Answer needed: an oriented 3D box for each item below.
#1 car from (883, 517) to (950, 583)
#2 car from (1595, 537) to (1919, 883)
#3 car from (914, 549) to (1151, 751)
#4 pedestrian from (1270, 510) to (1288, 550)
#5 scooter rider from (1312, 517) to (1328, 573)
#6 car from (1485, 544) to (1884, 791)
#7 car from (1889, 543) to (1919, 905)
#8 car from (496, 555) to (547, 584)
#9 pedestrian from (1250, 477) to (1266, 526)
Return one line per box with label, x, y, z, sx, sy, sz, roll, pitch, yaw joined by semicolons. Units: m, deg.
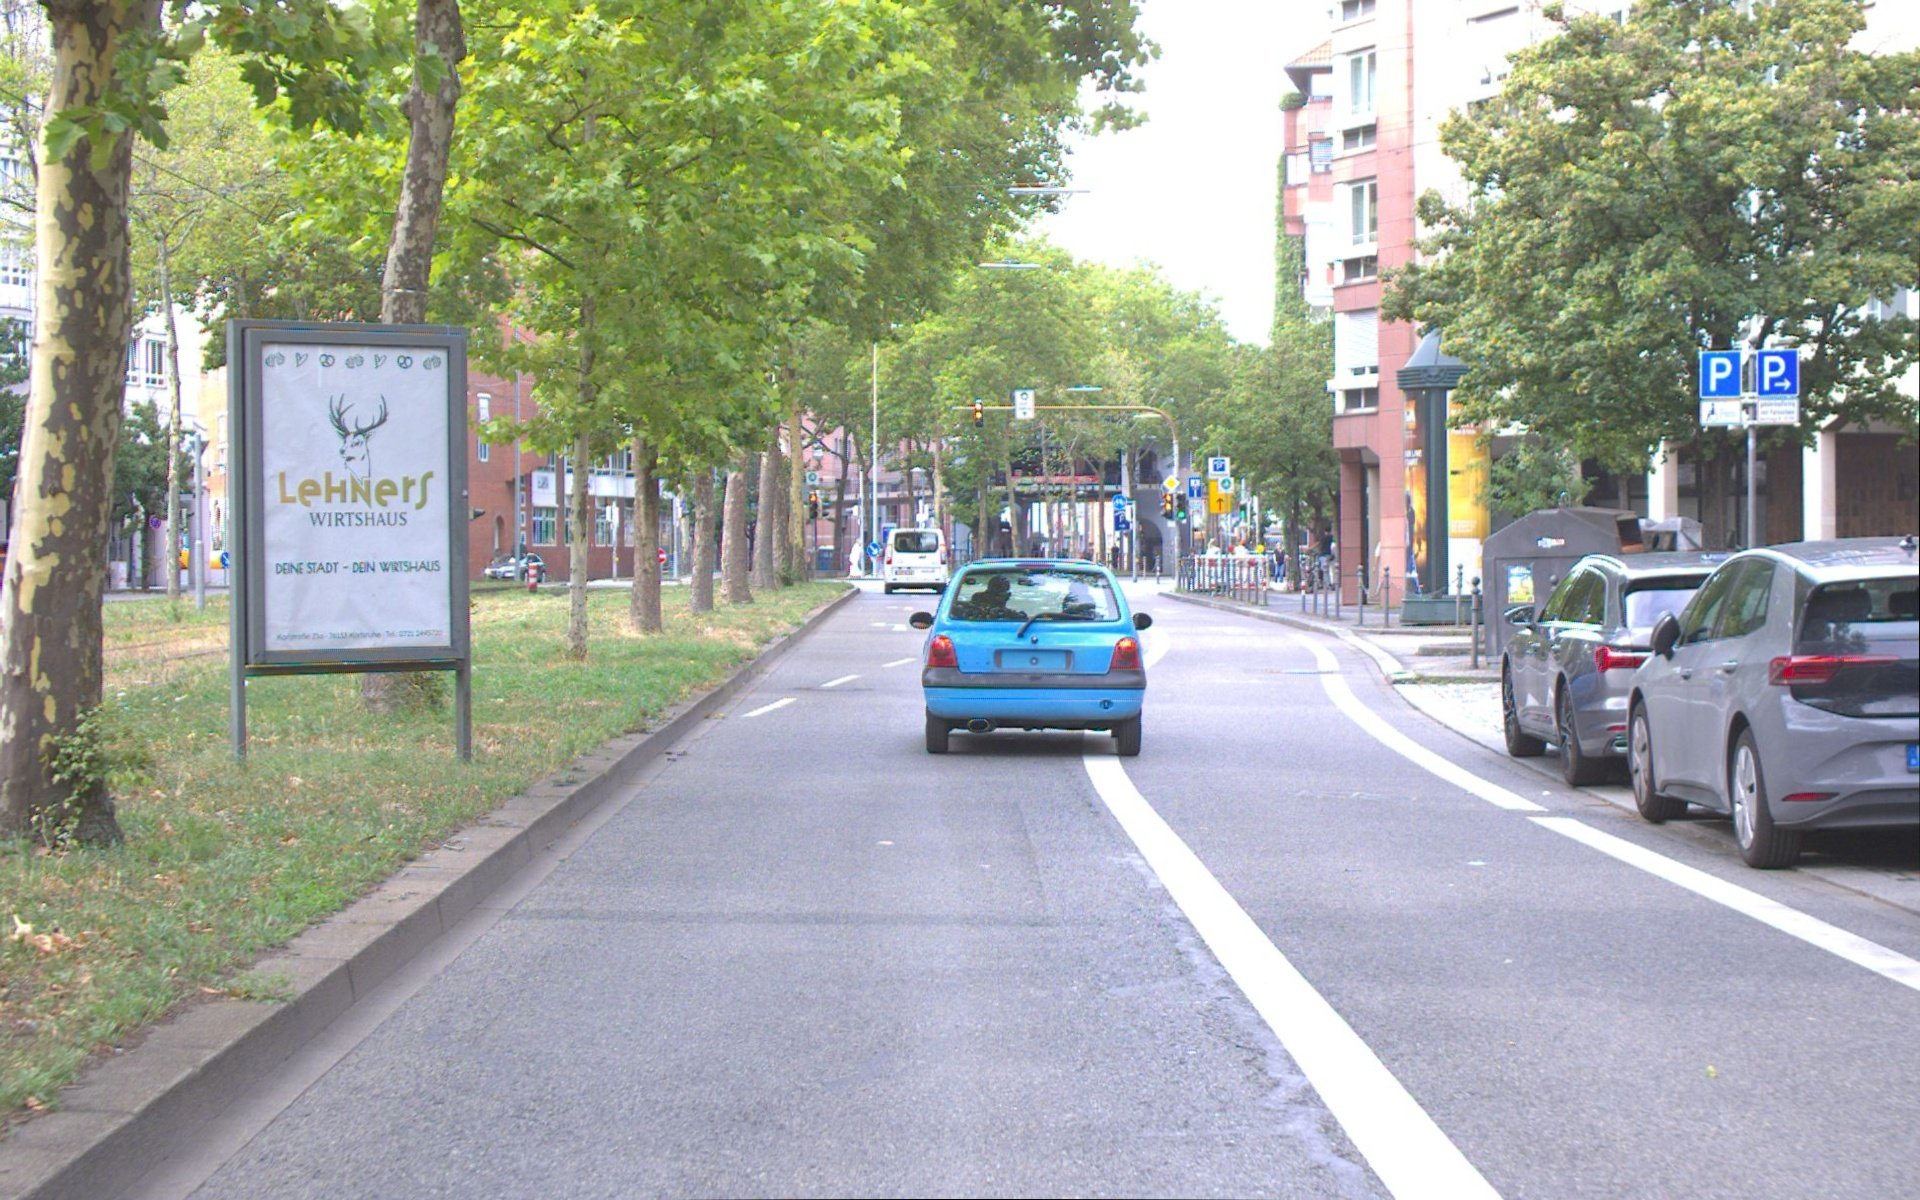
car;-1.268;-1.500;102.234;1.931;1.919;4.956;0;1;0
car;4.544;0.460;17.767;1.740;1.513;4.401;-1;1;1
car;0.512;0.319;25.833;1.640;1.381;3.843;0;1;0
pedestrian;12.204;-2.665;131.468;0.676;1.533;0.947;0;0;8
scooter rider;11.034;-1.689;105.291;0.463;1.714;0.553;0;1;4
car;4.699;0.370;22.955;1.817;1.437;4.666;-1;1;2
car;4.897;0.530;12.625;1.715;1.513;4.204;-2;1;-1
car;-19.464;-1.354;152.697;1.729;1.241;4.535;0;1;-1
pedestrian;9.854;-3.267;113.738;0.517;1.610;0.850;0;1;5
